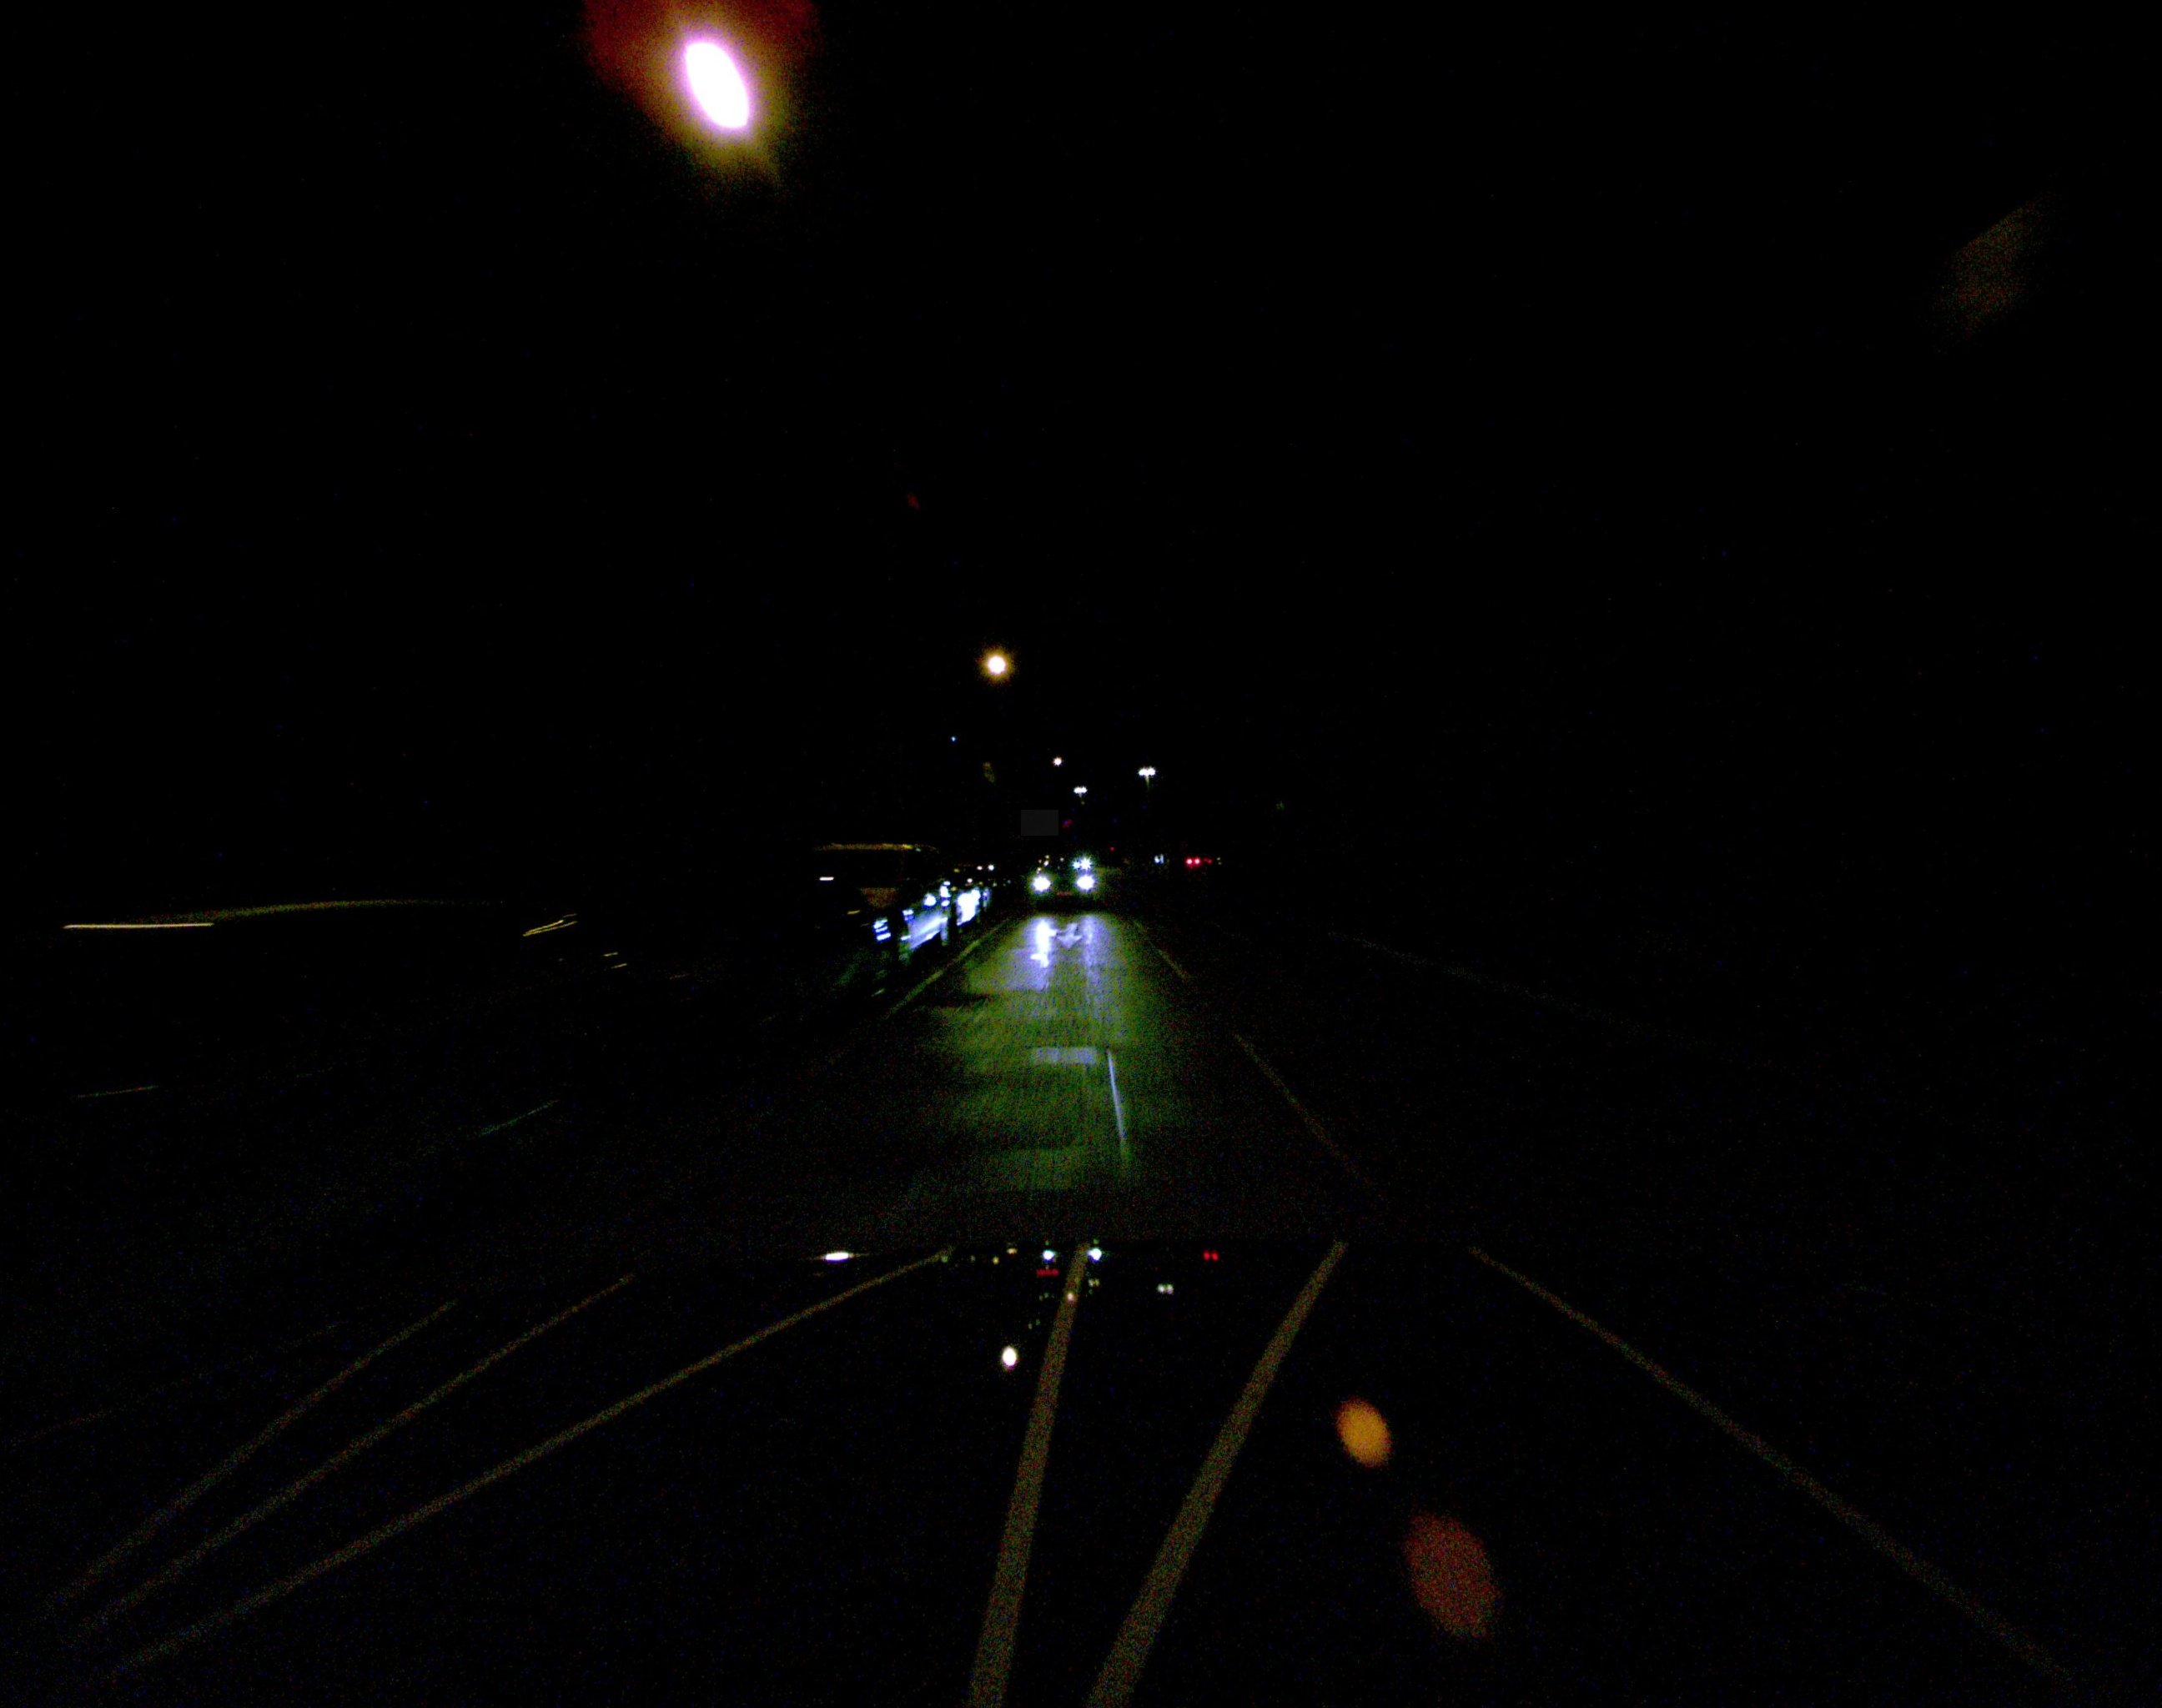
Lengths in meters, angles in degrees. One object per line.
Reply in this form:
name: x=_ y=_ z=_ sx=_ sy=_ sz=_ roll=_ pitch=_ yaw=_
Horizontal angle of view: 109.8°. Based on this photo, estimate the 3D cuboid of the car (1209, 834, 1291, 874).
car: x=8.743 y=-0.011 z=39.315 sx=3.993 sy=1.878 sz=1.910 roll=-2 pitch=1 yaw=13

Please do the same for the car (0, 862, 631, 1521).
car: x=-3.563 y=0.840 z=2.253 sx=1.828 sy=1.579 sz=4.627 roll=-1 pitch=0 yaw=-2

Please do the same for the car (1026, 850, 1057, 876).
car: x=-3.023 y=0.656 z=58.764 sx=2.077 sy=1.917 sz=5.370 roll=0 pitch=1 yaw=0

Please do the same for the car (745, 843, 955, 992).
car: x=-3.302 y=0.799 z=11.929 sx=1.805 sy=1.864 sz=4.773 roll=0 pitch=0 yaw=0

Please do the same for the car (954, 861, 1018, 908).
car: x=-3.331 y=1.025 z=27.266 sx=1.783 sy=1.418 sz=3.891 roll=-2 pitch=1 yaw=0

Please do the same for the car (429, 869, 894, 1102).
car: x=-3.245 y=0.893 z=7.022 sx=1.820 sy=1.419 sz=4.189 roll=0 pitch=0 yaw=3

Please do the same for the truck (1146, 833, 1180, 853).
truck: x=16.134 y=-2.235 z=149.306 sx=6.196 sy=3.672 sz=2.403 roll=-2 pitch=1 yaw=13

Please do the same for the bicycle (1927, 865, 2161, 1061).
bicycle: x=6.341 y=0.620 z=4.562 sx=0.621 sy=1.045 sz=1.721 roll=-2 pitch=1 yaw=1

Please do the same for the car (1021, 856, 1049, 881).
car: x=-3.183 y=1.007 z=53.039 sx=1.824 sy=1.590 sz=4.219 roll=1 pitch=1 yaw=-2

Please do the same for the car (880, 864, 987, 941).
car: x=-3.281 y=1.026 z=17.575 sx=1.599 sy=1.458 sz=3.891 roll=-2 pitch=1 yaw=1

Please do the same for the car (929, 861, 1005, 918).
car: x=-3.304 y=0.994 z=22.706 sx=1.599 sy=1.458 sz=3.718 roll=-2 pitch=1 yaw=1

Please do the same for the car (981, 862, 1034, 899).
car: x=-3.210 y=1.129 z=34.048 sx=1.783 sy=1.418 sz=4.480 roll=-2 pitch=1 yaw=1

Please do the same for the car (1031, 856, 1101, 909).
car: x=-0.419 y=0.890 z=25.777 sx=1.998 sy=1.607 sz=4.001 roll=-1 pitch=0 yaw=4

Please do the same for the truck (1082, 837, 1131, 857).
truck: x=5.071 y=-1.443 z=151.826 sx=9.340 sy=3.701 sz=2.002 roll=-1 pitch=1 yaw=16
